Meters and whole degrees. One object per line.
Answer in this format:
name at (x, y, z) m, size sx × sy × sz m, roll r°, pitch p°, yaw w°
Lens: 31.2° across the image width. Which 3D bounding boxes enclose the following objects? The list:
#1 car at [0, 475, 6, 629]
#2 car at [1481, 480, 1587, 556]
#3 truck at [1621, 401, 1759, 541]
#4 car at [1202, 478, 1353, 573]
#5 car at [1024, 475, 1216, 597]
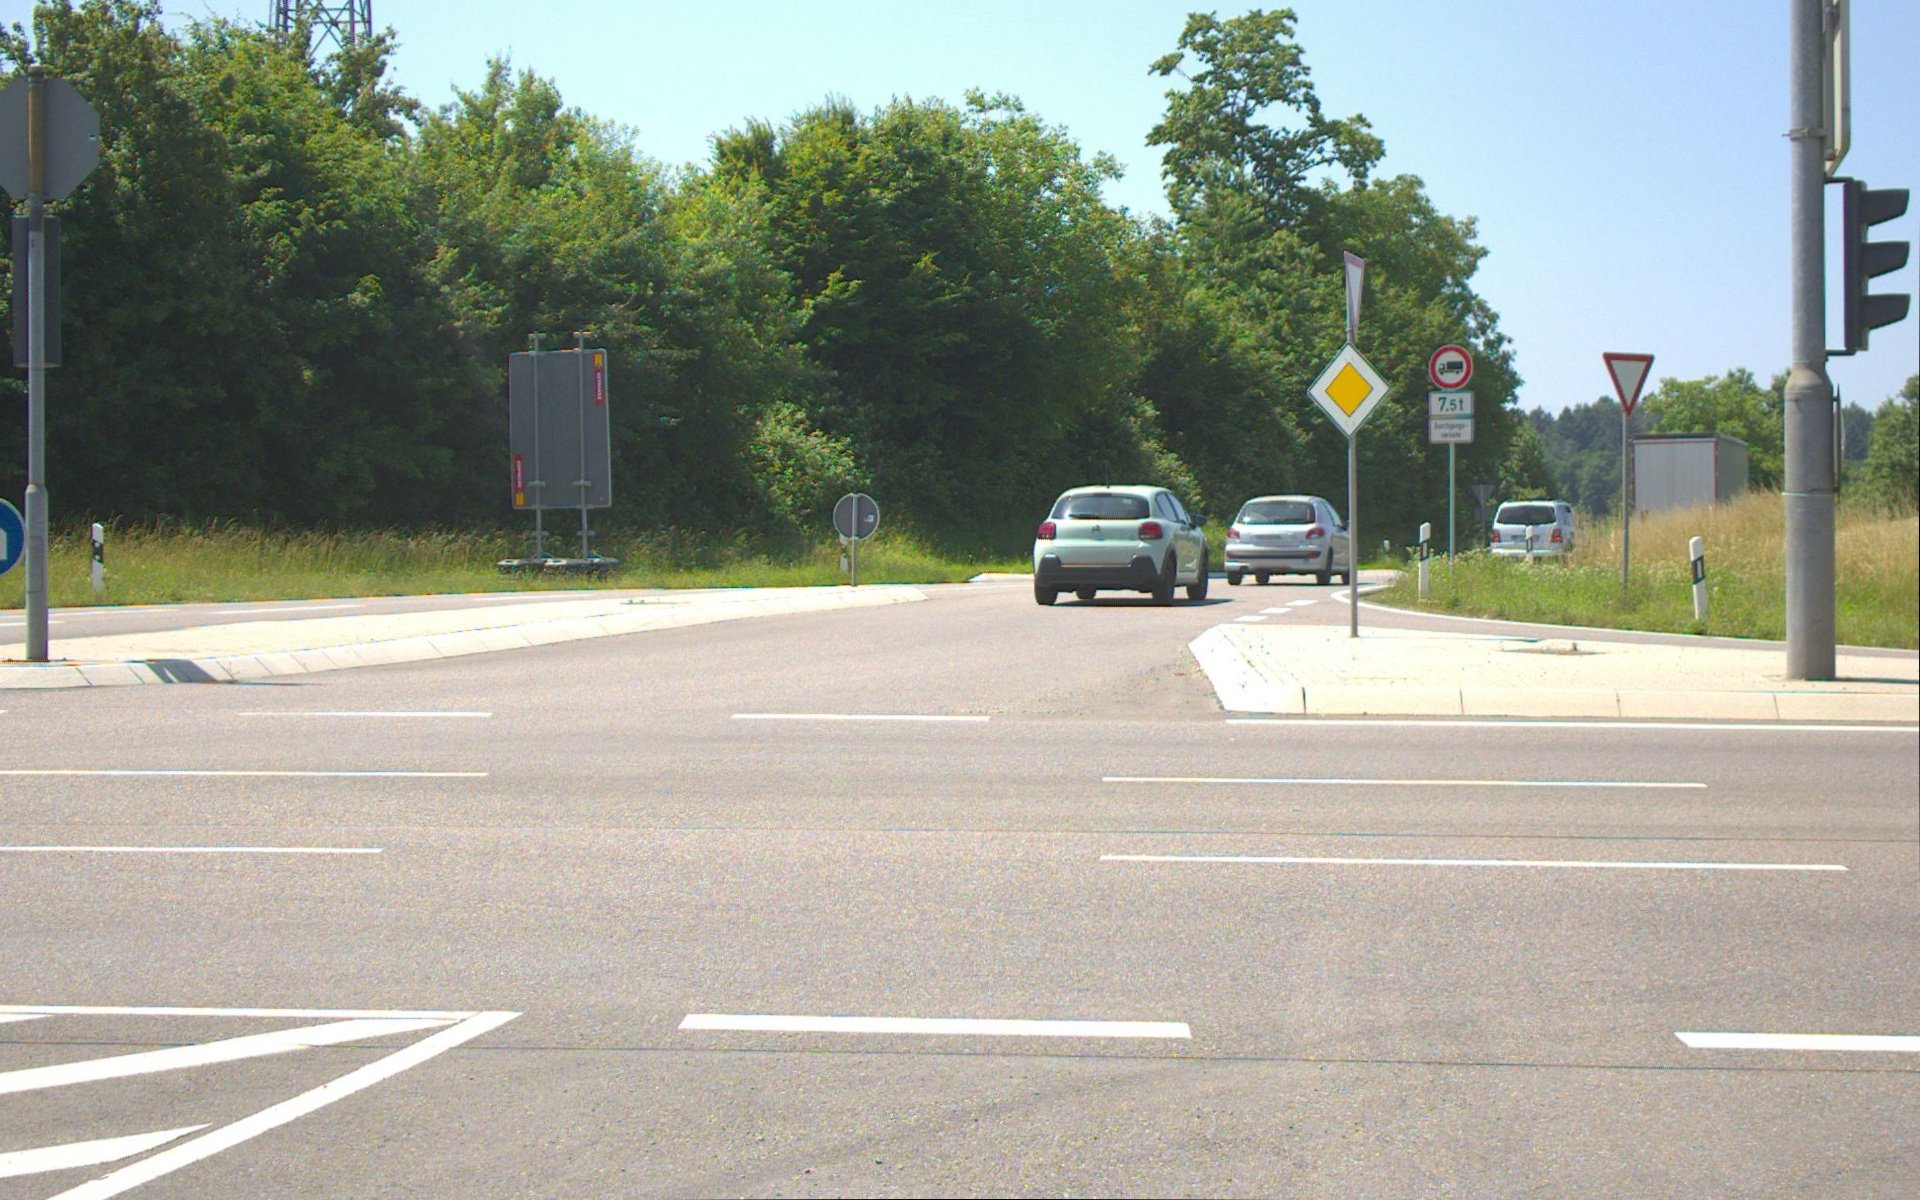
car at (-9.726, -0.368, 29.101) m, size 1.566 × 1.366 × 3.529 m, roll 1°, pitch 3°, yaw 16°
car at (12.998, -1.880, 77.648) m, size 1.814 × 1.619 × 4.057 m, roll 0°, pitch 3°, yaw 18°
truck at (23.662, -4.077, 110.758) m, size 3.128 × 4.158 × 16.674 m, roll 1°, pitch 2°, yaw 16°
car at (5.123, -1.226, 55.077) m, size 1.814 × 1.408 × 3.781 m, roll 1°, pitch 3°, yaw 15°
car at (2.070, -0.850, 43.472) m, size 1.730 × 1.399 × 3.985 m, roll 2°, pitch 3°, yaw 13°
